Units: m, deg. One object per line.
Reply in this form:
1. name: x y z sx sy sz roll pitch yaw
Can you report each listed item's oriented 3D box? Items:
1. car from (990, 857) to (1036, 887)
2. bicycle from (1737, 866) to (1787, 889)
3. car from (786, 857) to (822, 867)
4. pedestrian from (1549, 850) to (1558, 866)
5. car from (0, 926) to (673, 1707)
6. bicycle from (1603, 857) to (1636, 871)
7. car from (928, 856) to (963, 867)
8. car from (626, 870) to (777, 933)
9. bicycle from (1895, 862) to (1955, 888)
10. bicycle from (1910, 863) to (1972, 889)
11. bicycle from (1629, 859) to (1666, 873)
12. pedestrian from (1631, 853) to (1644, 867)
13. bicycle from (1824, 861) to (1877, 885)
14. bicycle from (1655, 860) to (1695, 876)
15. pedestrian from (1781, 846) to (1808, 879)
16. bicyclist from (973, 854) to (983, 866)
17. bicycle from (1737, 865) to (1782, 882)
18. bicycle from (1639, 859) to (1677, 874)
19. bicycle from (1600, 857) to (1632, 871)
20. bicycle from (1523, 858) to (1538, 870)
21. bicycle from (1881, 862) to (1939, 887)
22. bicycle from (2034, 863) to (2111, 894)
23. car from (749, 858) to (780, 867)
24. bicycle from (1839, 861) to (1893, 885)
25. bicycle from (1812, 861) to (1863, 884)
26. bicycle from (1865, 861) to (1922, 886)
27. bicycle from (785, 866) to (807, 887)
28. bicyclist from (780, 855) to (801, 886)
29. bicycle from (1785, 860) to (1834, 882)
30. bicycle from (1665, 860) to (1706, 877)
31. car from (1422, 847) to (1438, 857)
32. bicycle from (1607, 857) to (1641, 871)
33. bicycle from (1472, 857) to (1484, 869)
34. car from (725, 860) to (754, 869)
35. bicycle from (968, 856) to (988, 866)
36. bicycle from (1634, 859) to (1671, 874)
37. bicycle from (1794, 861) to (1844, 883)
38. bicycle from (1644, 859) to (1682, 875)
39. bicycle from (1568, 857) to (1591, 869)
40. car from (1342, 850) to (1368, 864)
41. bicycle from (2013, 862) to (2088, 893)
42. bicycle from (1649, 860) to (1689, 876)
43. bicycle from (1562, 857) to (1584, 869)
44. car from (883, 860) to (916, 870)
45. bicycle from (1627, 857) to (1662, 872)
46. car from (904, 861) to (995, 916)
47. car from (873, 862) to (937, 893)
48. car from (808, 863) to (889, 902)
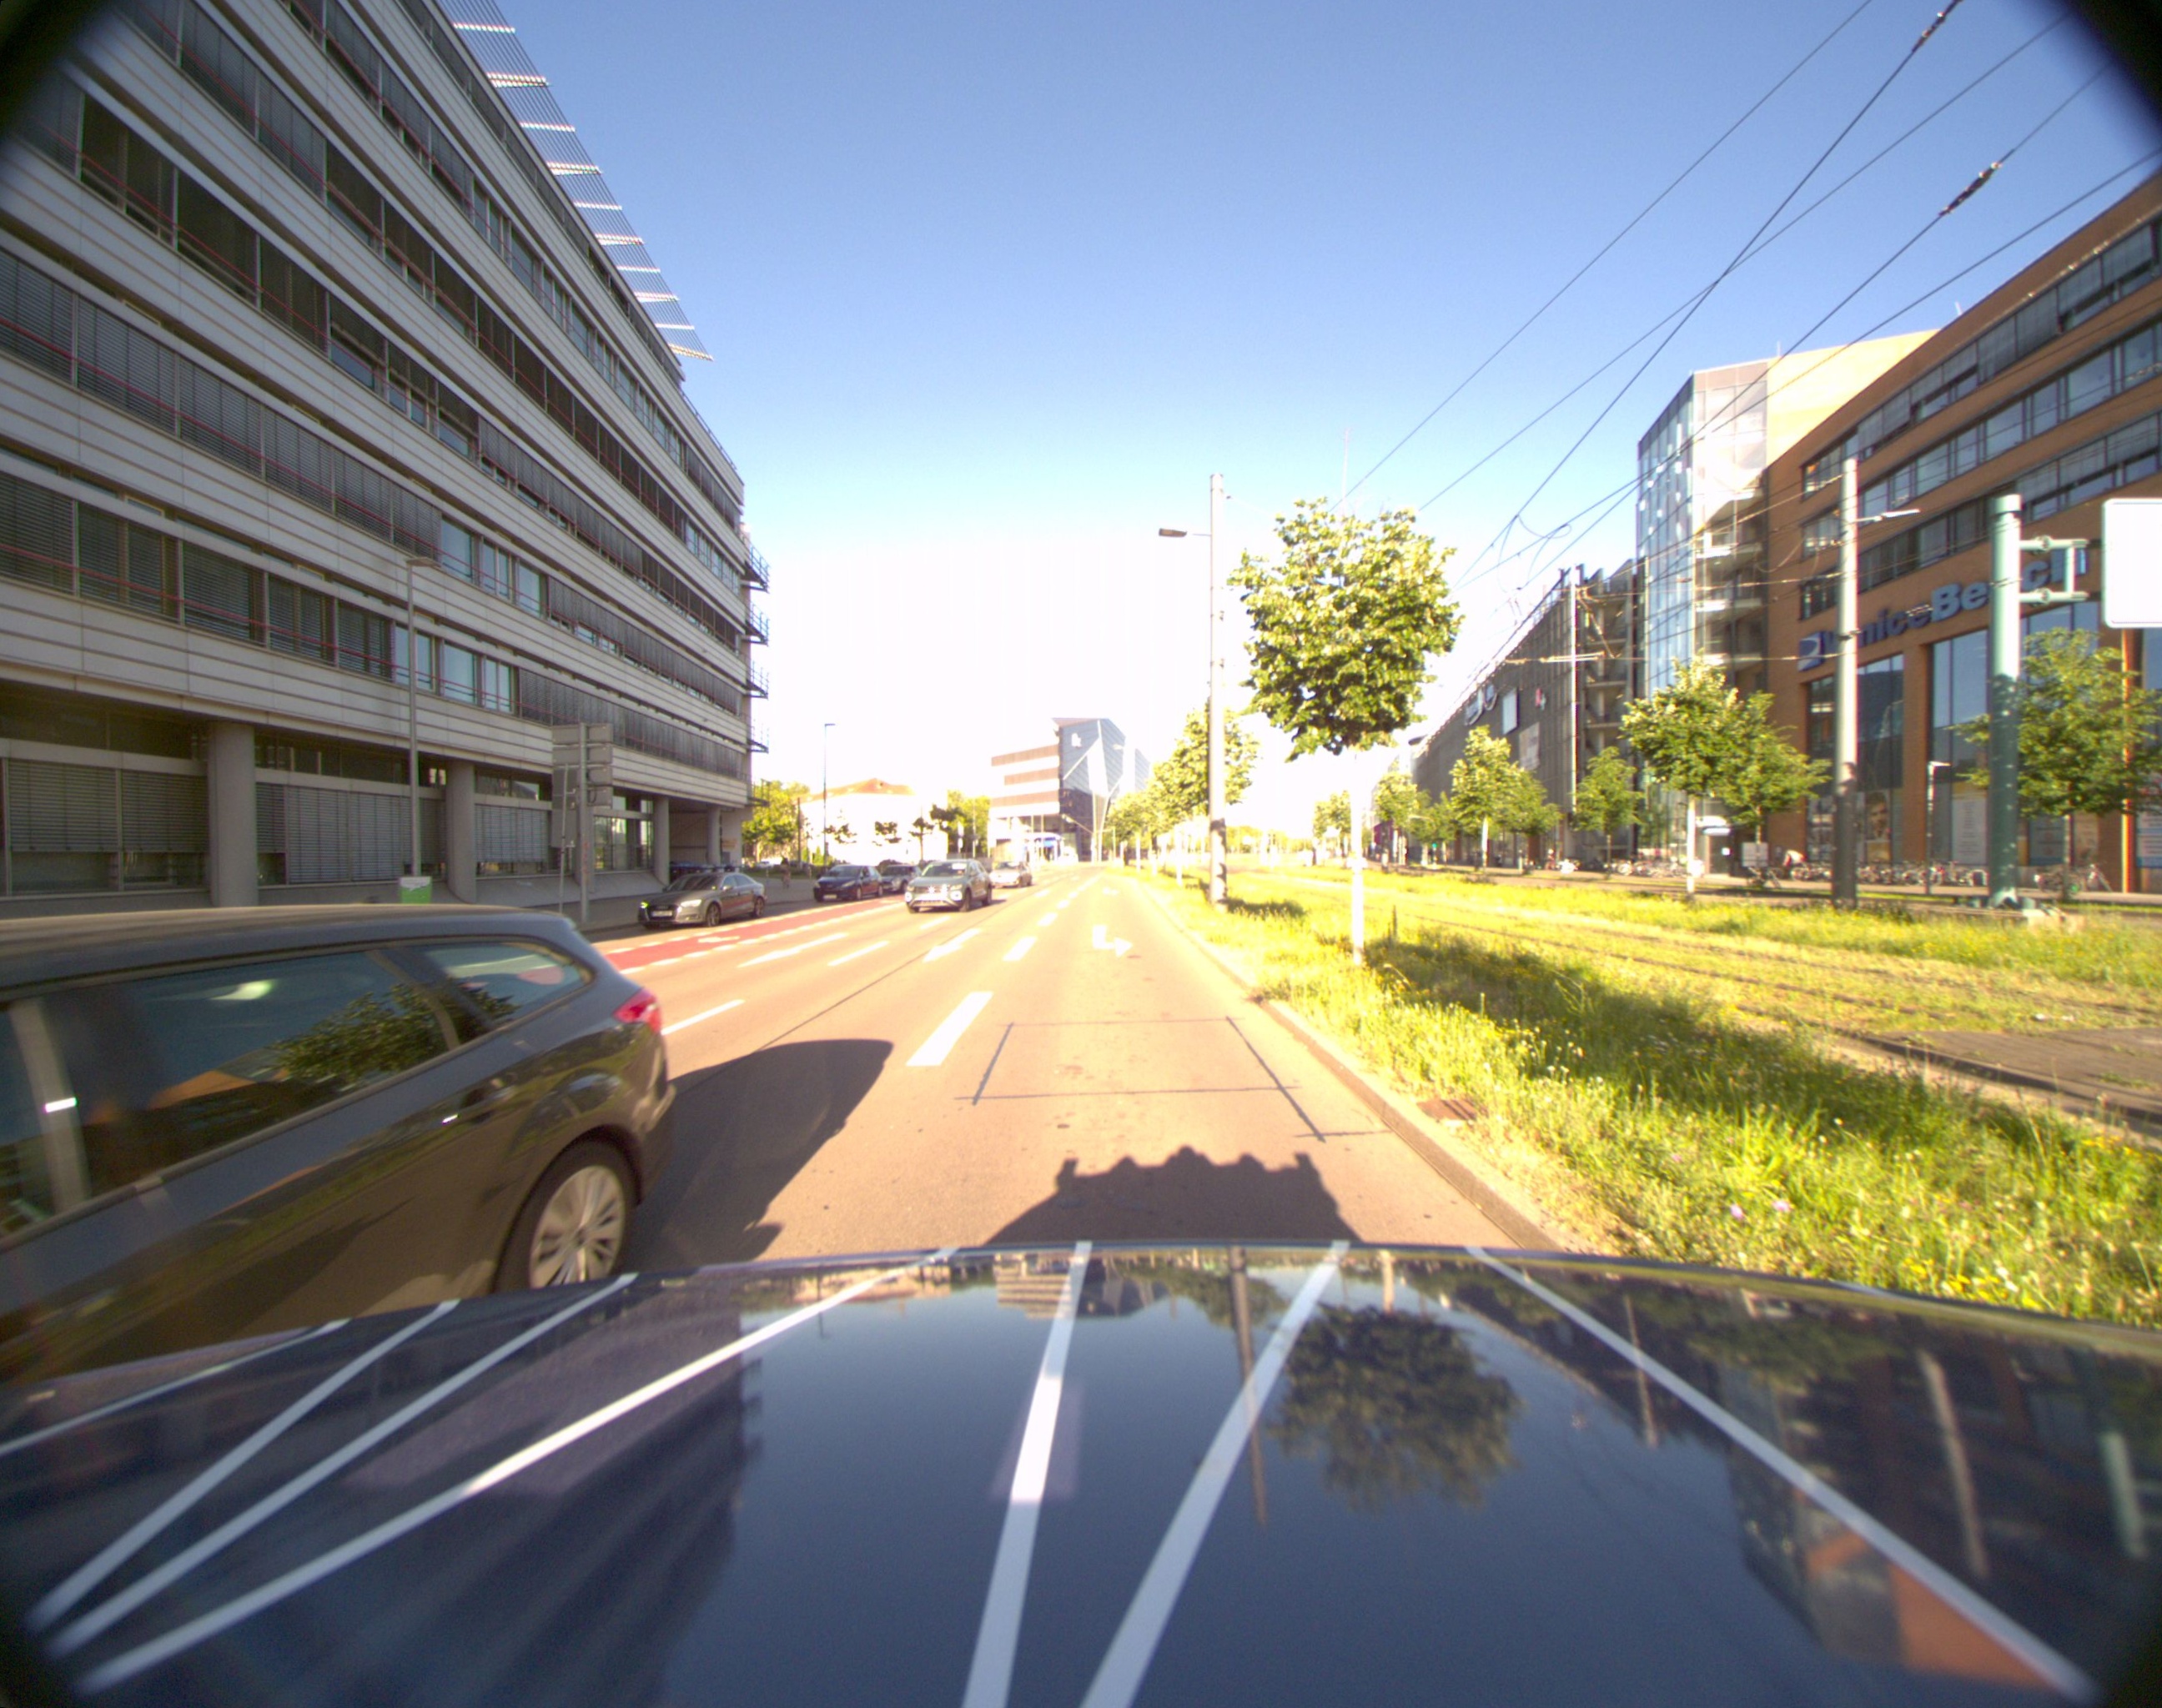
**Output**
1. car: -3.538 0.906 40.155 1.619 1.421 3.769 -2 1 7
2. bicycle: 28.036 0.948 31.307 0.464 0.863 1.771 -1 1 1
3. car: -39.934 1.171 109.465 4.516 1.414 2.002 -1 1 17
4. pedestrian: 38.395 0.357 61.691 0.448 1.282 0.630 0 1 13
5. car: -2.543 1.027 1.034 1.690 1.425 4.153 -1 0 0
6. bicycle: 36.706 0.691 51.822 1.768 0.921 0.491 -1 1 17
7. car: -18.243 0.977 102.350 4.285 1.414 2.003 -1 1 20
8. car: -10.130 1.224 20.669 1.714 1.432 4.114 -3 -2 4
9. bicycle: 35.011 0.872 31.522 1.769 1.043 0.491 -1 1 8
10. bicycle: 34.884 0.882 30.832 1.769 1.043 0.491 -1 1 8
11. bicycle: 35.728 0.758 47.944 1.768 0.921 0.565 -1 1 17
12. pedestrian: 40.740 0.428 55.634 0.629 1.048 0.450 -1 1 13
13. bicycle: 35.357 0.869 34.928 1.769 1.043 0.491 -1 1 8
14. bicycle: 34.706 0.824 44.414 1.768 0.921 0.565 -1 1 17
15. pedestrian: 36.450 0.433 38.824 0.746 1.659 0.676 -1 1 7
16. bicyclist: -13.306 0.759 98.117 1.006 1.598 0.880 -1 1 14
17. bicycle: 37.354 1.062 41.829 1.768 0.921 0.565 -1 1 17
18. bicycle: 35.342 0.784 46.580 1.768 0.921 0.565 -1 1 17
19. bicycle: 36.879 0.694 52.392 1.768 0.921 0.491 -1 1 17
20. bicycle: 32.663 0.727 55.209 0.386 0.863 1.773 -1 1 13
21. bicycle: 35.142 0.861 32.220 1.769 1.043 0.491 -1 1 8
22. bicycle: 33.963 0.836 26.040 1.769 1.043 0.491 -1 1 8
23. car: -46.760 1.311 112.184 3.990 1.237 2.003 -1 1 26
24. bicycle: 35.324 0.838 34.201 1.769 1.043 0.491 -1 1 8
25. bicycle: 35.448 0.860 35.612 1.769 1.043 0.491 -1 1 8
26. bicycle: 35.197 0.853 32.910 1.769 1.043 0.491 -1 1 8
27. bicycle: -15.285 1.187 40.750 0.505 1.052 1.702 2 1 2
28. bicyclist: -15.518 0.887 40.568 0.685 1.609 0.991 -1 1 2
29. bicycle: 35.572 0.843 37.100 1.769 1.043 0.491 -1 1 8
30. bicycle: 34.467 0.842 43.341 1.768 0.921 0.565 -1 1 17
31. car: 54.253 -0.362 118.127 1.582 1.521 3.754 -2 1 13
32. bicycle: 36.541 0.702 51.168 1.768 0.921 0.565 -1 1 17
33. bicycle: 31.585 0.673 60.489 0.386 0.918 1.773 0 1 13
34. car: -52.069 1.592 115.788 3.990 1.368 1.938 -1 1 27
35. bicycle: -13.292 0.917 98.102 2.368 1.304 0.952 -1 1 13
36. bicycle: 35.539 0.771 47.277 1.768 0.921 0.565 -1 1 17
37. bicycle: 35.473 0.851 36.519 1.769 1.043 0.491 -1 1 8
38. bicycle: 35.175 0.795 45.923 1.768 0.921 0.565 -1 1 17
39. bicycle: 37.603 0.693 57.362 1.398 0.921 0.462 -1 1 17
40. car: 25.879 0.252 71.760 1.808 1.320 4.409 0 1 13
41. bicycle: 34.024 0.829 26.680 1.769 1.043 0.491 -1 1 8
42. bicycle: 34.939 0.810 45.164 1.768 0.921 0.565 -1 1 17
43. bicycle: 38.010 0.667 58.717 1.398 0.921 0.462 -1 1 17
44. car: -24.966 1.519 104.443 3.991 1.414 2.003 -1 1 20
45. bicycle: 36.009 0.681 48.568 1.768 0.921 0.491 -1 1 17
46. car: -3.958 0.997 23.505 1.748 1.496 3.882 -1 0 7
47. car: -8.666 1.153 37.755 1.437 1.437 4.005 -2 -2 13
48. car: -9.557 1.147 31.518 1.735 1.437 4.002 -3 -1 6
